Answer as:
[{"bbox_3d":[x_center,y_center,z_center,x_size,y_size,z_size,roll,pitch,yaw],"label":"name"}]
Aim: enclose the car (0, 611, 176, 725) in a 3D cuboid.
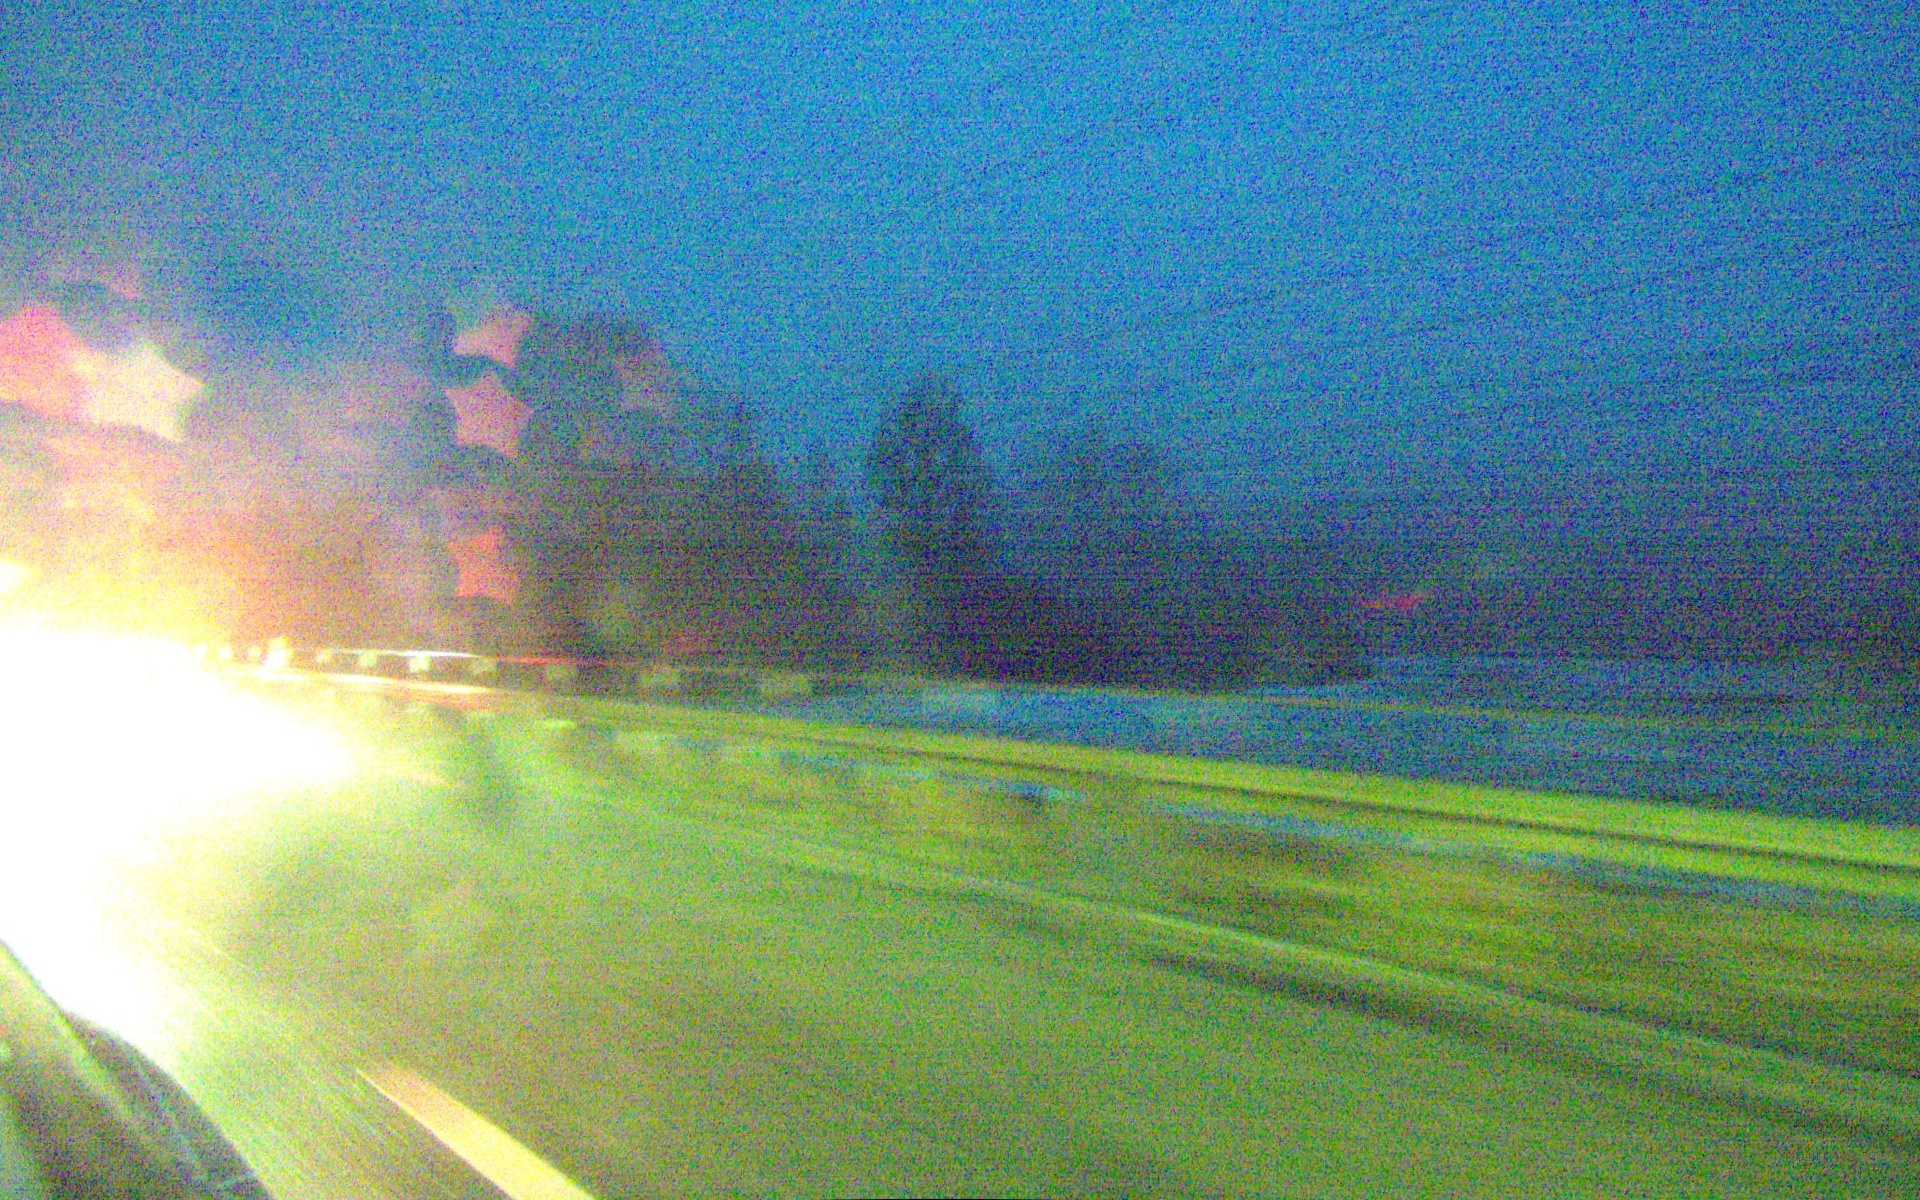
[{"bbox_3d":[-14.700,1.048,16.826,4.404,1.640,1.786,-1,-3,41],"label":"car"}]
